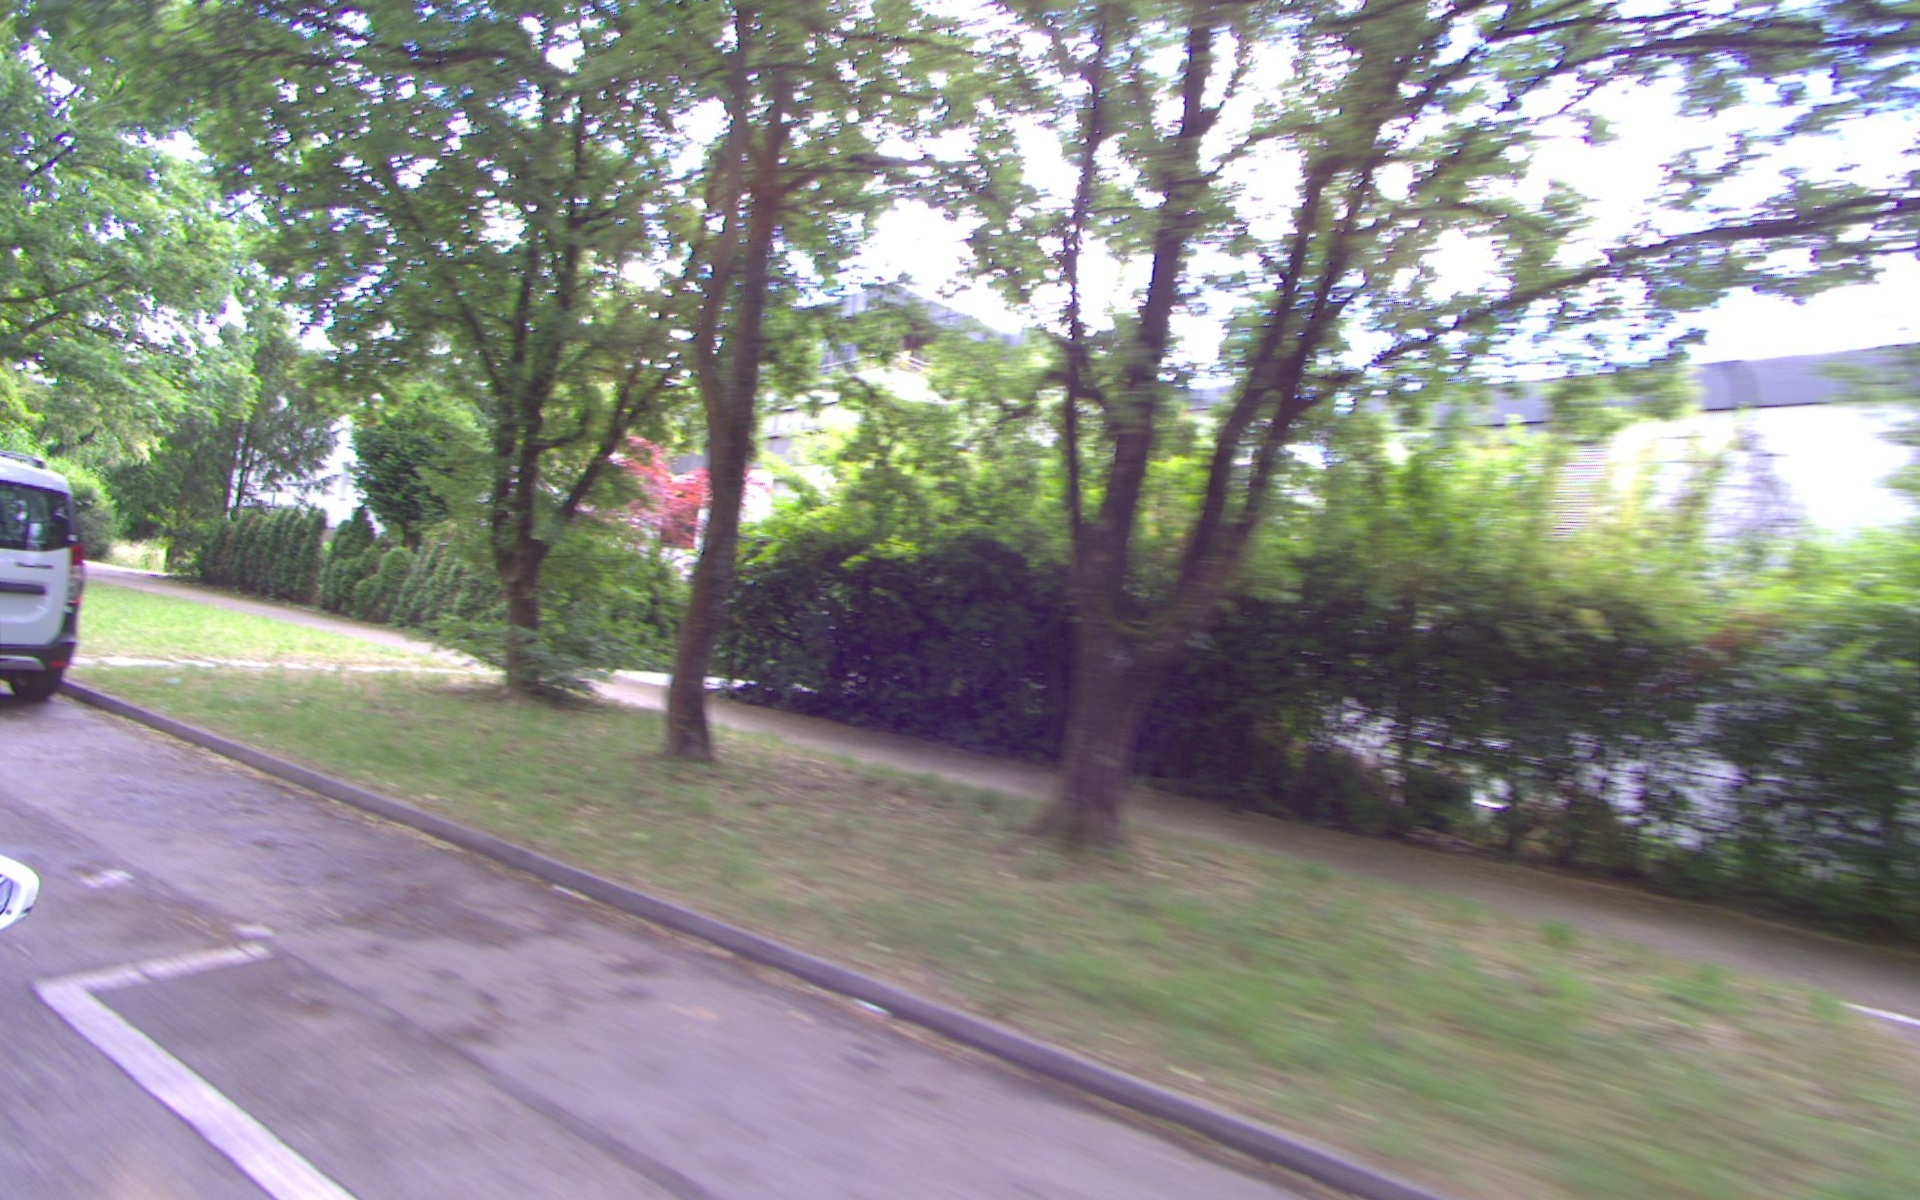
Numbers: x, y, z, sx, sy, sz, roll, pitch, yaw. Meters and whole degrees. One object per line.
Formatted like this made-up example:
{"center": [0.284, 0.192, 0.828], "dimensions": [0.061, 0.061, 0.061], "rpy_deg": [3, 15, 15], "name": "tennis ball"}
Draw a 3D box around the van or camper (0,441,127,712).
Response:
{"center": [-8.606, -0.356, 7.804], "dimensions": [4.248, 1.859, 1.806], "rpy_deg": [5, -2, 30], "name": "van or camper"}
